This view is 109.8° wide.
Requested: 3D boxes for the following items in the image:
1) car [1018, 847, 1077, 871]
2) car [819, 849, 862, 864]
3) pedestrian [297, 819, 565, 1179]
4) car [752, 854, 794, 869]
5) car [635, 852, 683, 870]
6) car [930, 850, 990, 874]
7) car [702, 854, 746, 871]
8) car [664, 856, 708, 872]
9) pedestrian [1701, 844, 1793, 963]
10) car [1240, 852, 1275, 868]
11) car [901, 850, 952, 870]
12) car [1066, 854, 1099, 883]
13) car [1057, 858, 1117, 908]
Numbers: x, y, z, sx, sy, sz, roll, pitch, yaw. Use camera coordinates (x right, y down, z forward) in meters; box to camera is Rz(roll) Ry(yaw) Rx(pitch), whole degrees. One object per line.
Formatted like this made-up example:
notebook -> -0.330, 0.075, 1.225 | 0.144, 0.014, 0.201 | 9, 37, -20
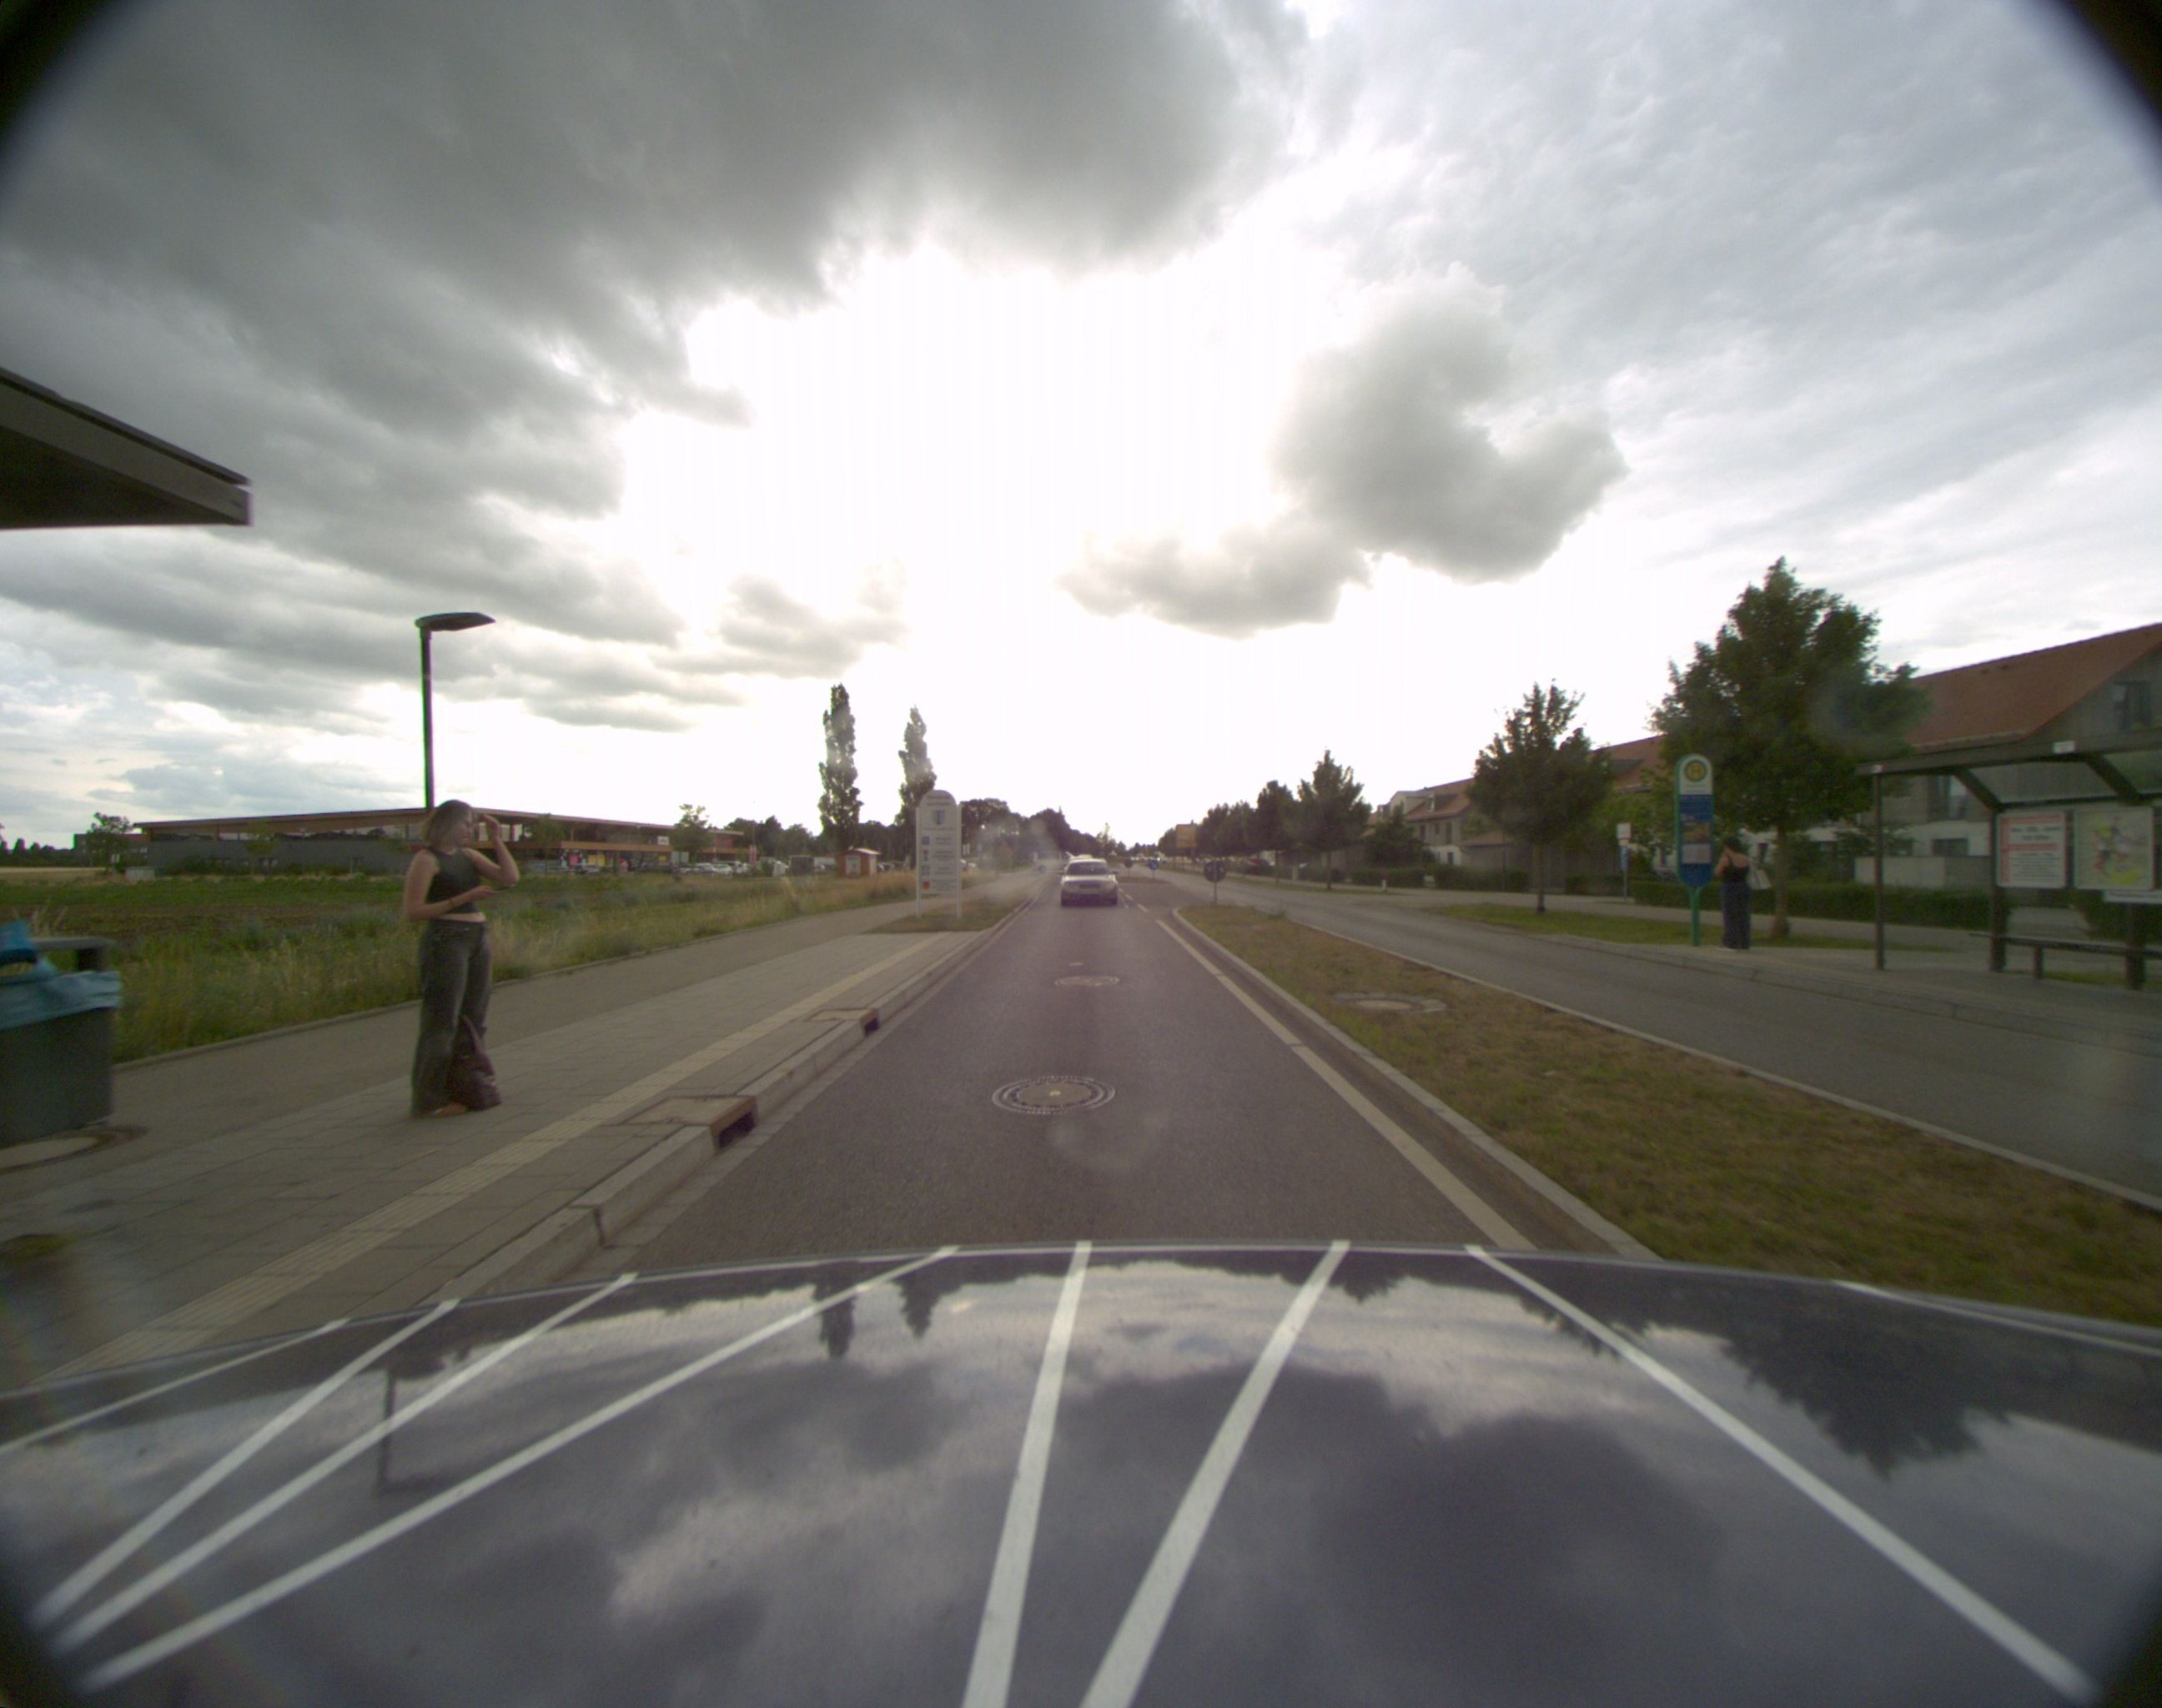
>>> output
car -> -3.112, 0.441, 71.437 | 5.313, 2.002, 2.562 | -2, 1, 1
car -> -35.185, 0.395, 111.216 | 5.527, 2.002, 1.999 | -2, 1, -6
pedestrian -> -3.589, 0.722, 4.243 | 0.782, 1.782, 0.780 | -2, 1, 22
car -> -47.124, 1.183, 116.265 | 5.527, 2.002, 1.999 | -2, 1, -6
car -> -54.159, 0.890, 97.577 | 4.858, 2.002, 1.998 | -2, 1, -7
car -> -11.395, 0.726, 71.884 | 5.313, 2.002, 2.000 | -2, 1, 1
car -> -47.392, 1.135, 101.029 | 4.858, 2.002, 1.998 | -2, 1, -7
car -> -54.140, 1.343, 104.244 | 4.858, 2.002, 1.998 | -2, 1, -7
pedestrian -> 9.439, 0.677, 10.791 | 0.590, 1.627, 0.813 | 0, 1, 0
car -> 24.813, 0.861, 106.864 | 4.568, 2.002, 2.000 | -2, 1, 5
car -> -17.747, 0.697, 87.341 | 5.527, 2.002, 1.999 | -2, 1, -6
car -> 0.079, 0.781, 44.037 | 1.763, 1.495, 4.690 | -2, 1, 0
car -> 0.275, 0.890, 25.381 | 1.763, 1.410, 4.520 | -2, 1, 2
